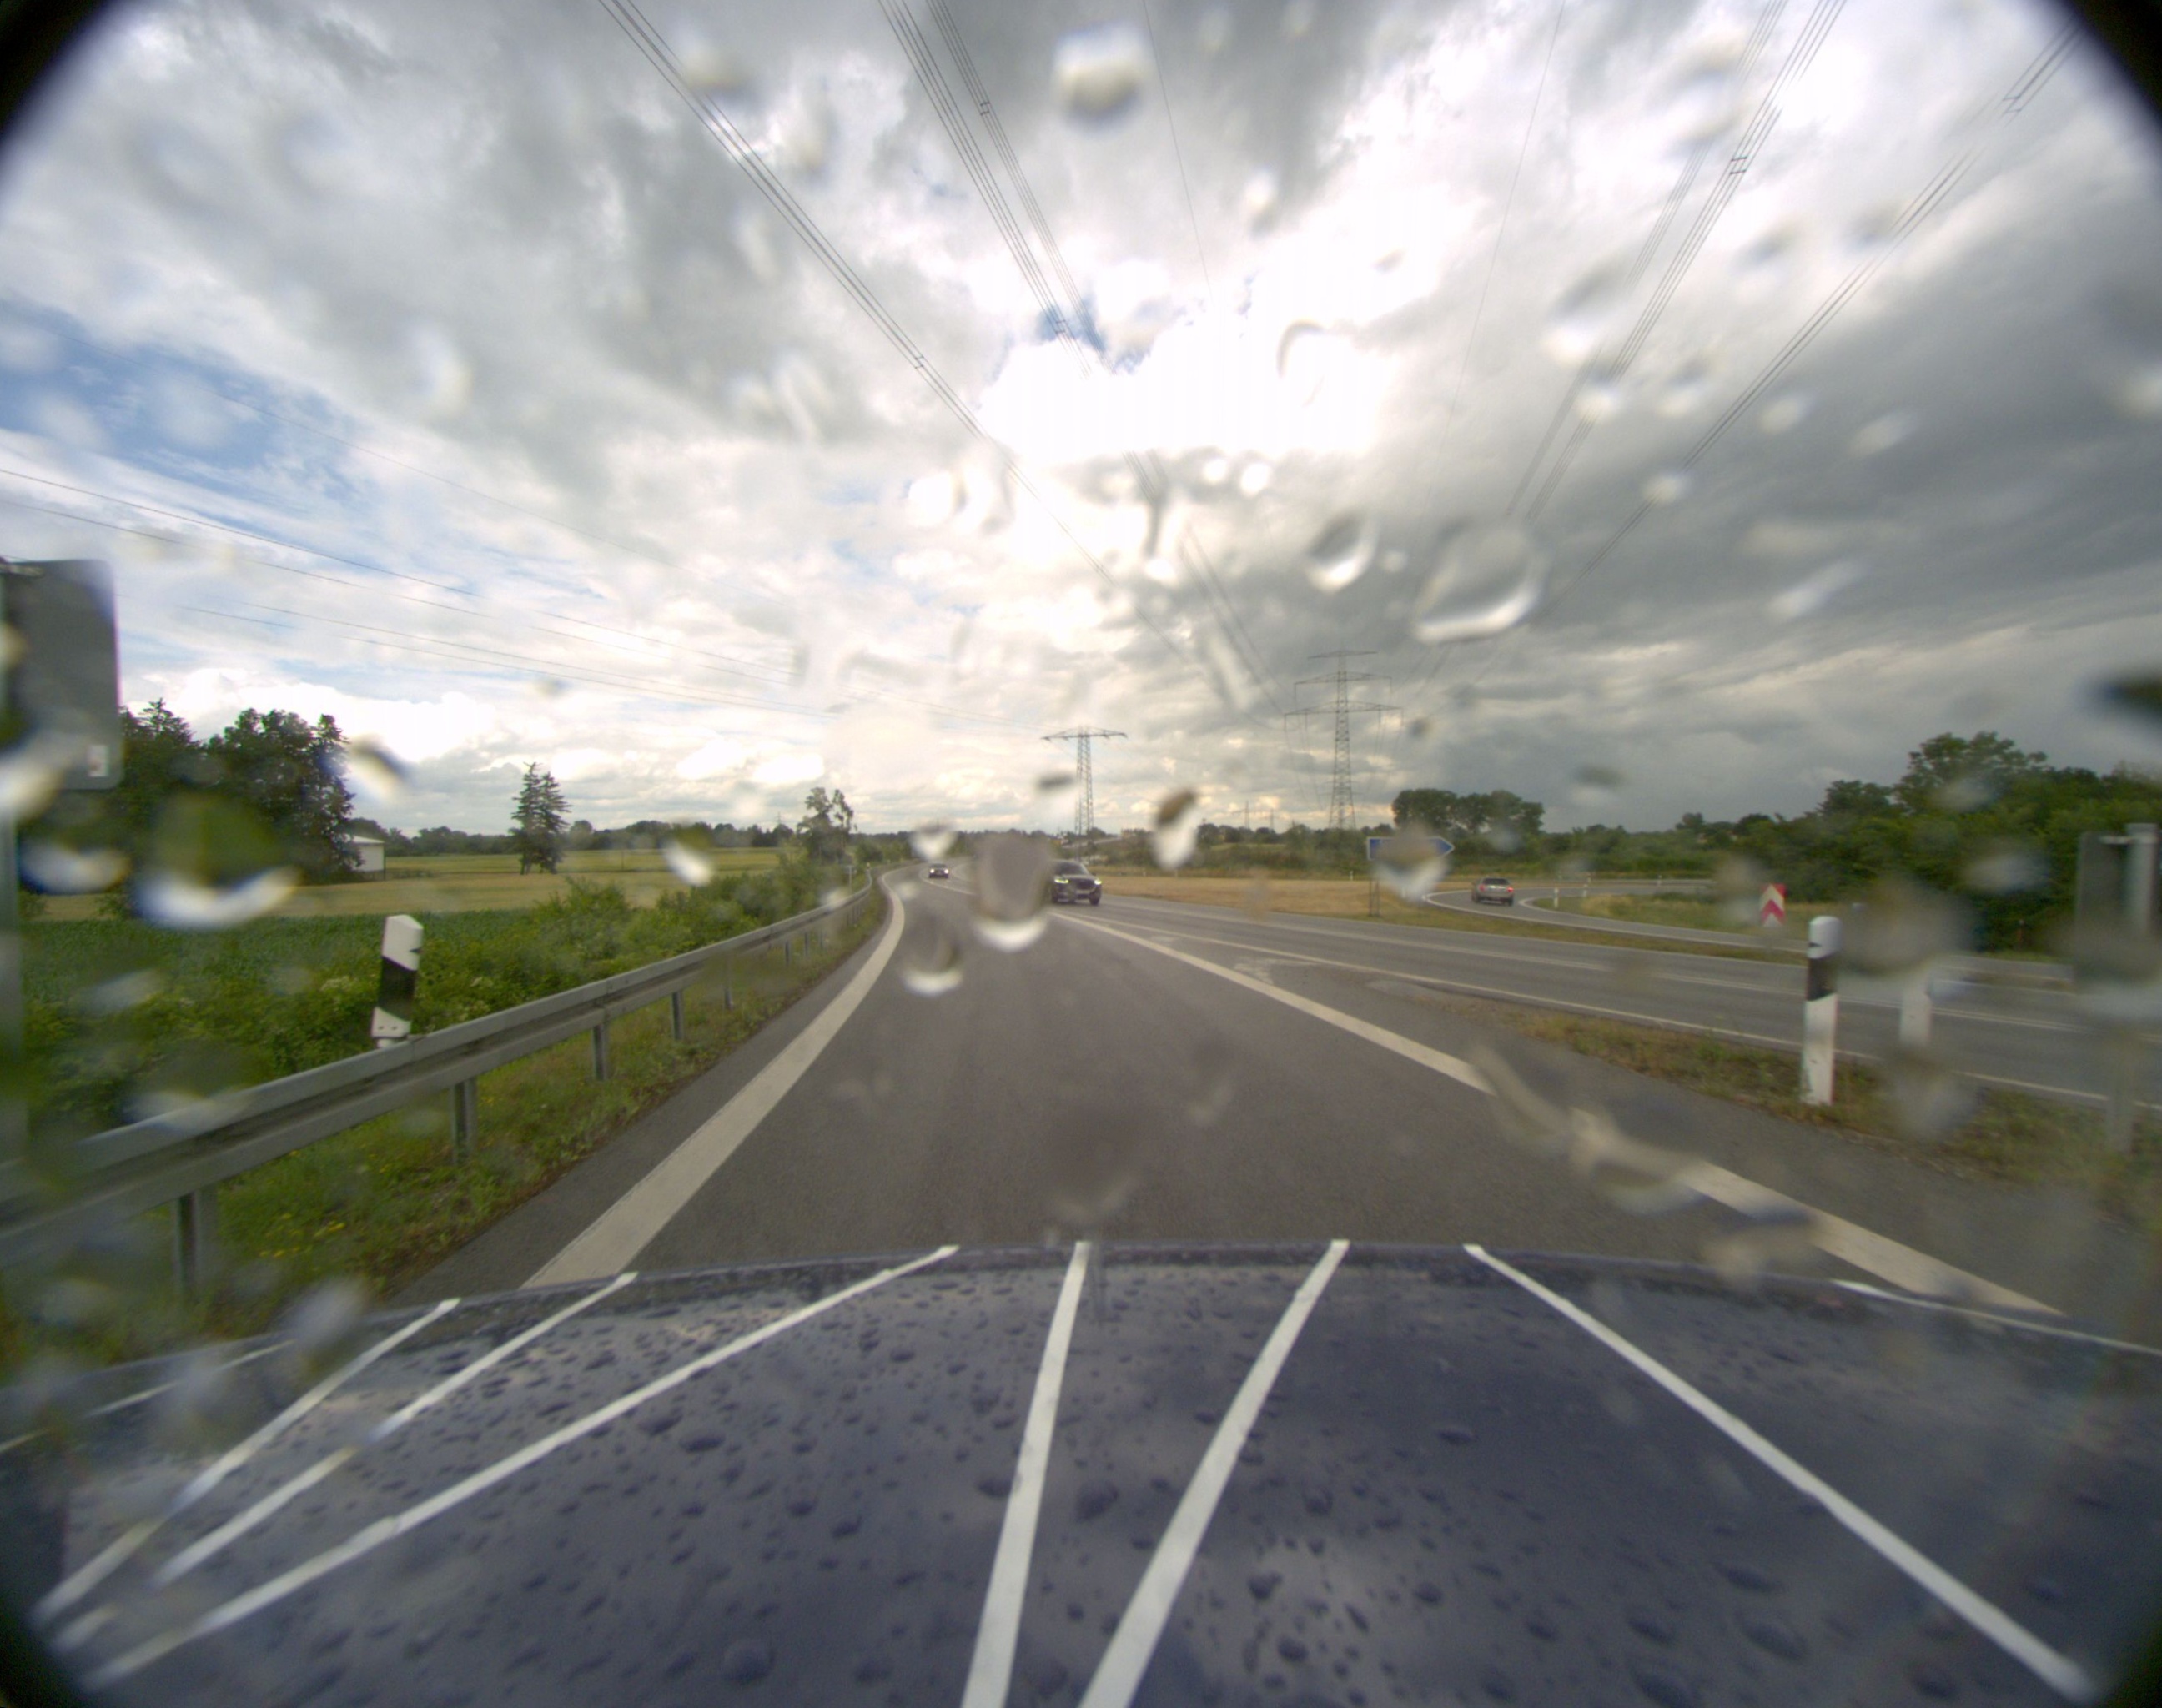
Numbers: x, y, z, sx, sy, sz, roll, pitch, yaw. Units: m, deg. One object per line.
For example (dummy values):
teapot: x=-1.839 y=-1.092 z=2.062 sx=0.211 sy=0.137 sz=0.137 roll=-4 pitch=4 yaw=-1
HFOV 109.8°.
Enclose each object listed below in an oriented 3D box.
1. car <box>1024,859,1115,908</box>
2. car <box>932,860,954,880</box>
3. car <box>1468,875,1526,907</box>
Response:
car: x=-0.555 y=1.050 z=29.191 sx=2.002 sy=1.710 sz=4.586 roll=0 pitch=0 yaw=-22
car: x=-13.061 y=1.524 z=71.804 sx=2.000 sy=1.742 sz=3.996 roll=-2 pitch=0 yaw=-11
car: x=21.621 y=1.913 z=39.639 sx=1.738 sy=1.430 sz=3.777 roll=2 pitch=0 yaw=14
